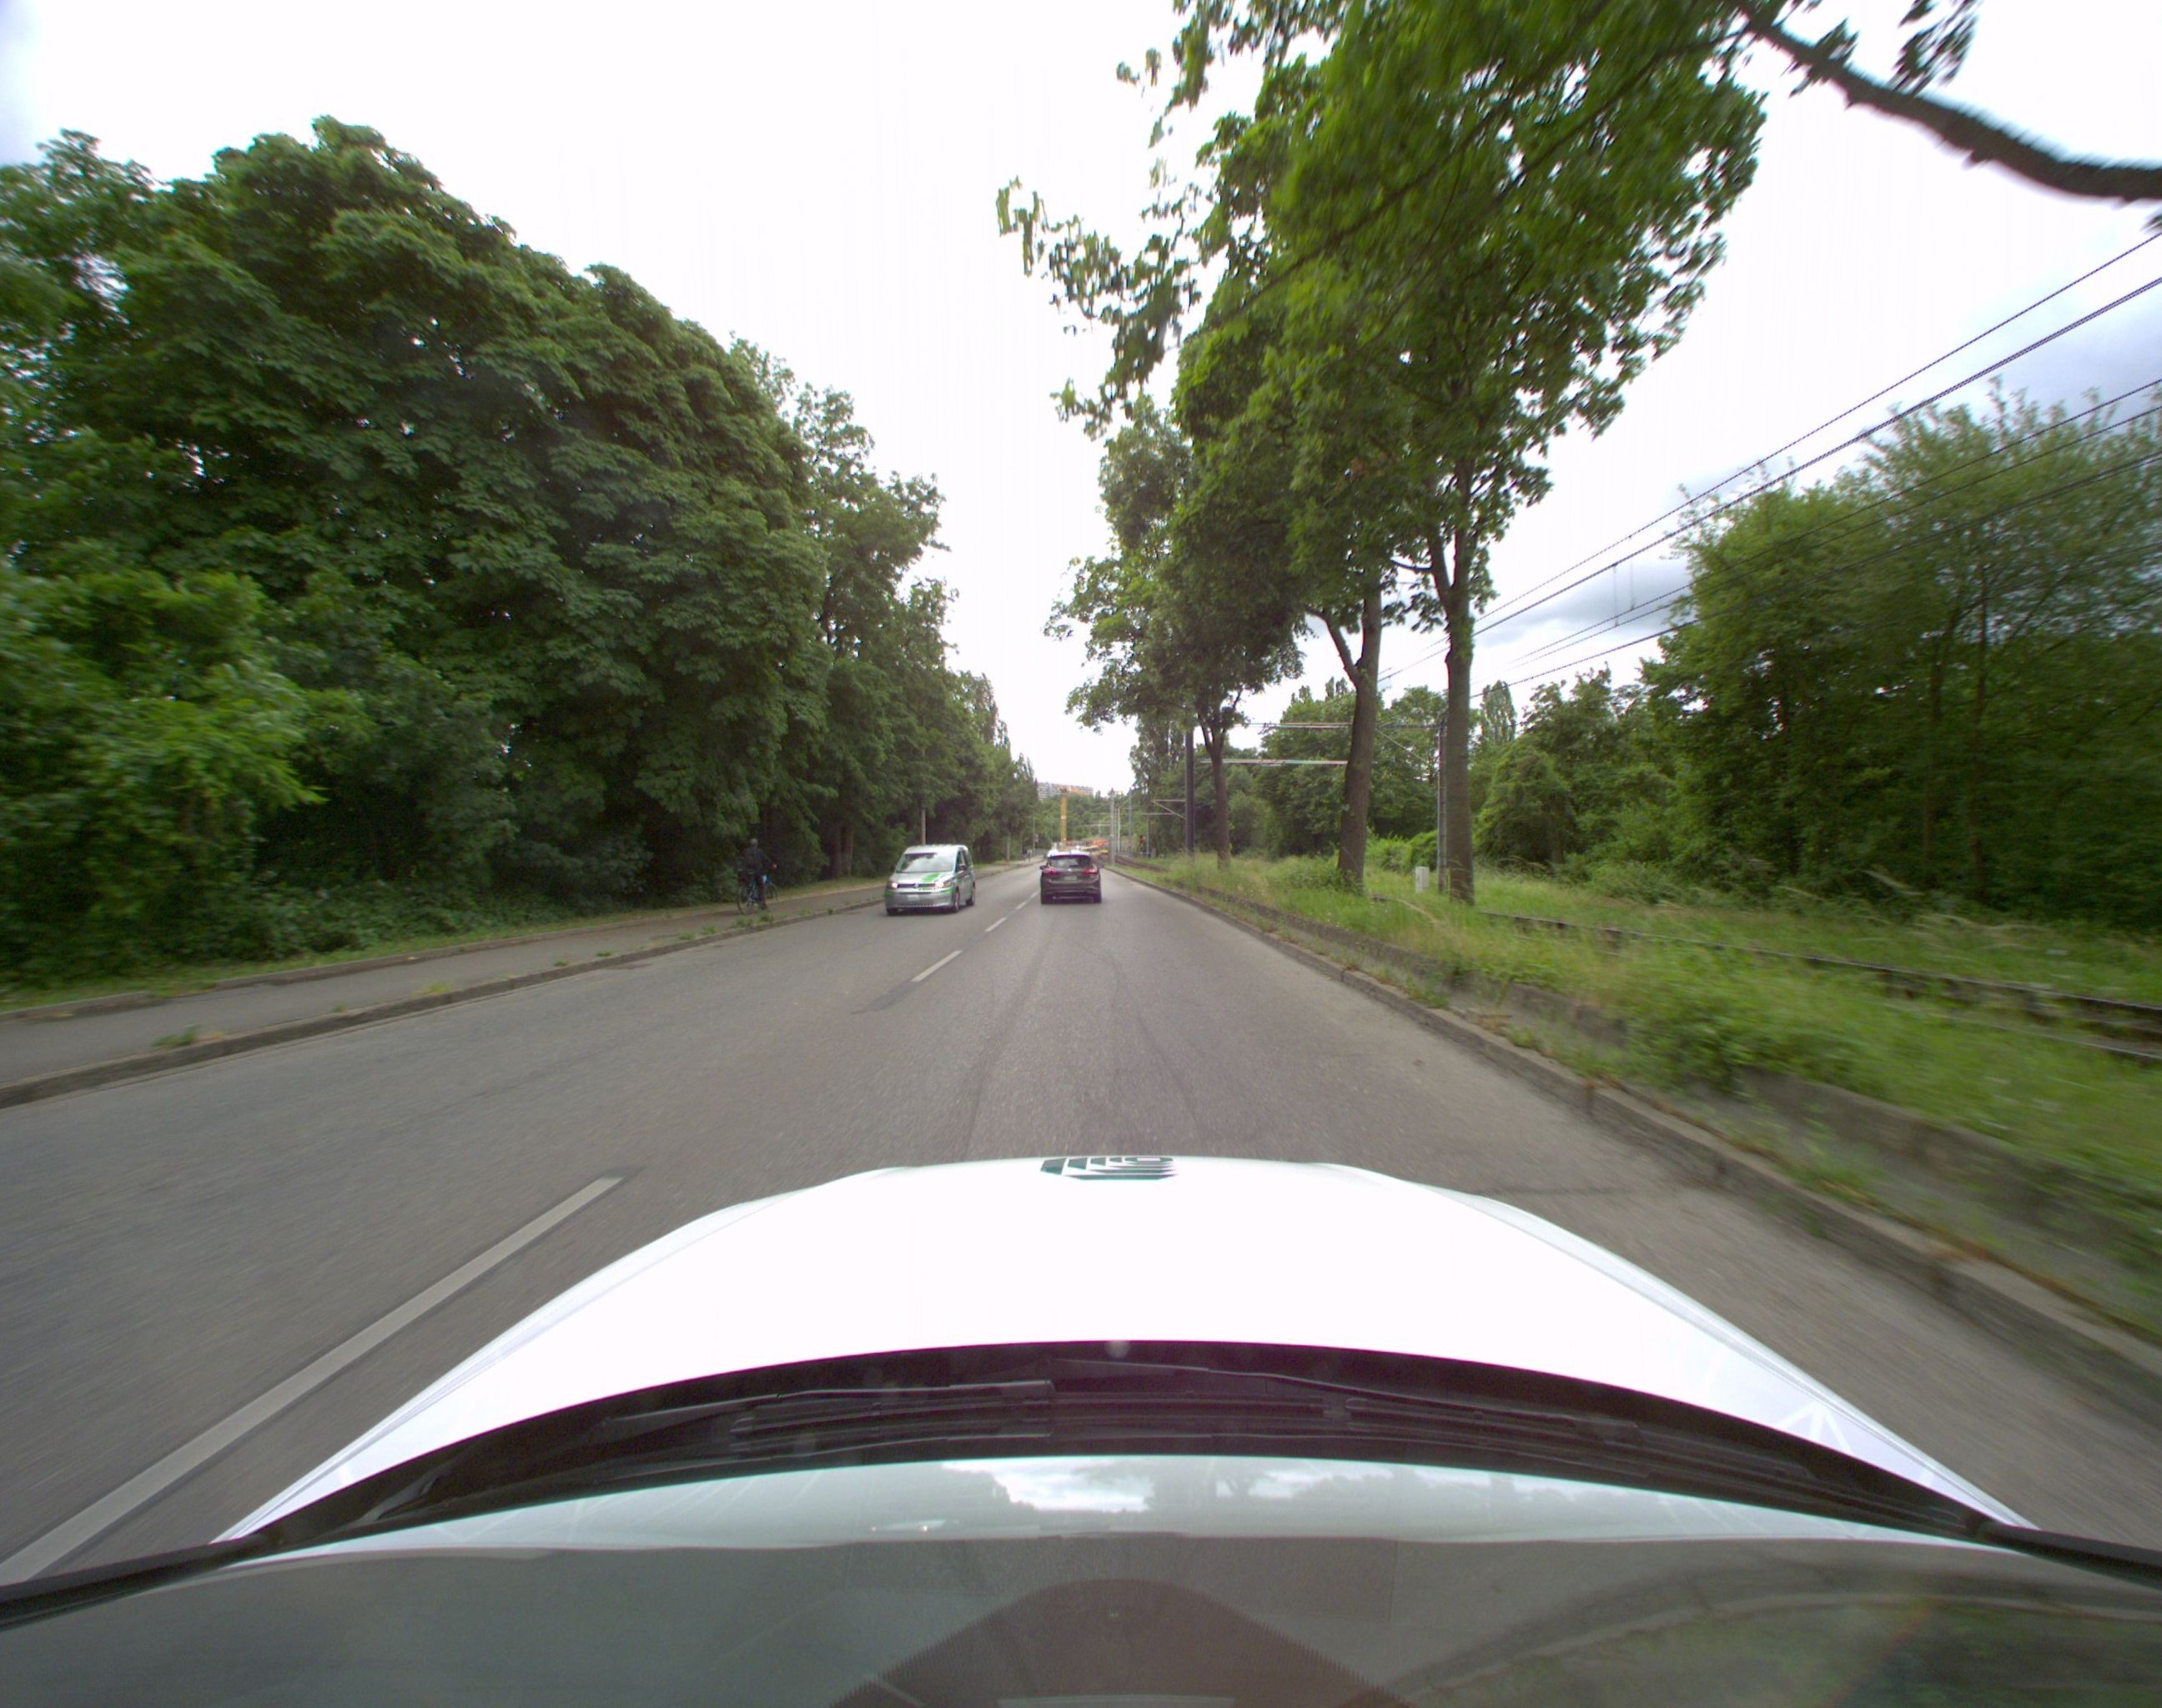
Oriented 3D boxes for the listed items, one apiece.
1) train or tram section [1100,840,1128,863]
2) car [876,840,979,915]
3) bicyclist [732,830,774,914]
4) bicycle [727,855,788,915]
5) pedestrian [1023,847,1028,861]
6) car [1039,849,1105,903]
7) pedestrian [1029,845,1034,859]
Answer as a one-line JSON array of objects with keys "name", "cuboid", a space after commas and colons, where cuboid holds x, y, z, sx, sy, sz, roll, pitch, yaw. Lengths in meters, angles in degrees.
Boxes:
[{"name": "train or tram section", "cuboid": [8.477, -0.479, 214.676, 3.027, 5.183, 22.978, 1, -2, -9]}, {"name": "car", "cuboid": [-4.041, 0.564, 22.206, 1.850, 1.799, 4.556, -2, 0, 0]}, {"name": "bicyclist", "cuboid": [-7.796, 0.417, 19.389, 0.685, 1.948, 0.834, 1, -1, -4]}, {"name": "bicycle", "cuboid": [-7.839, 0.716, 19.828, 0.697, 1.331, 2.277, 1, 0, -4]}, {"name": "pedestrian", "cuboid": [-7.215, -0.041, 105.490, 0.585, 1.803, 0.822, 1, 0, -1]}, {"name": "car", "cuboid": [-0.310, 0.627, 24.973, 1.825, 1.510, 3.997, -1, 0, -2]}, {"name": "pedestrian", "cuboid": [-6.429, -0.255, 105.930, 0.549, 1.765, 0.858, 3, 0, -1]}]
